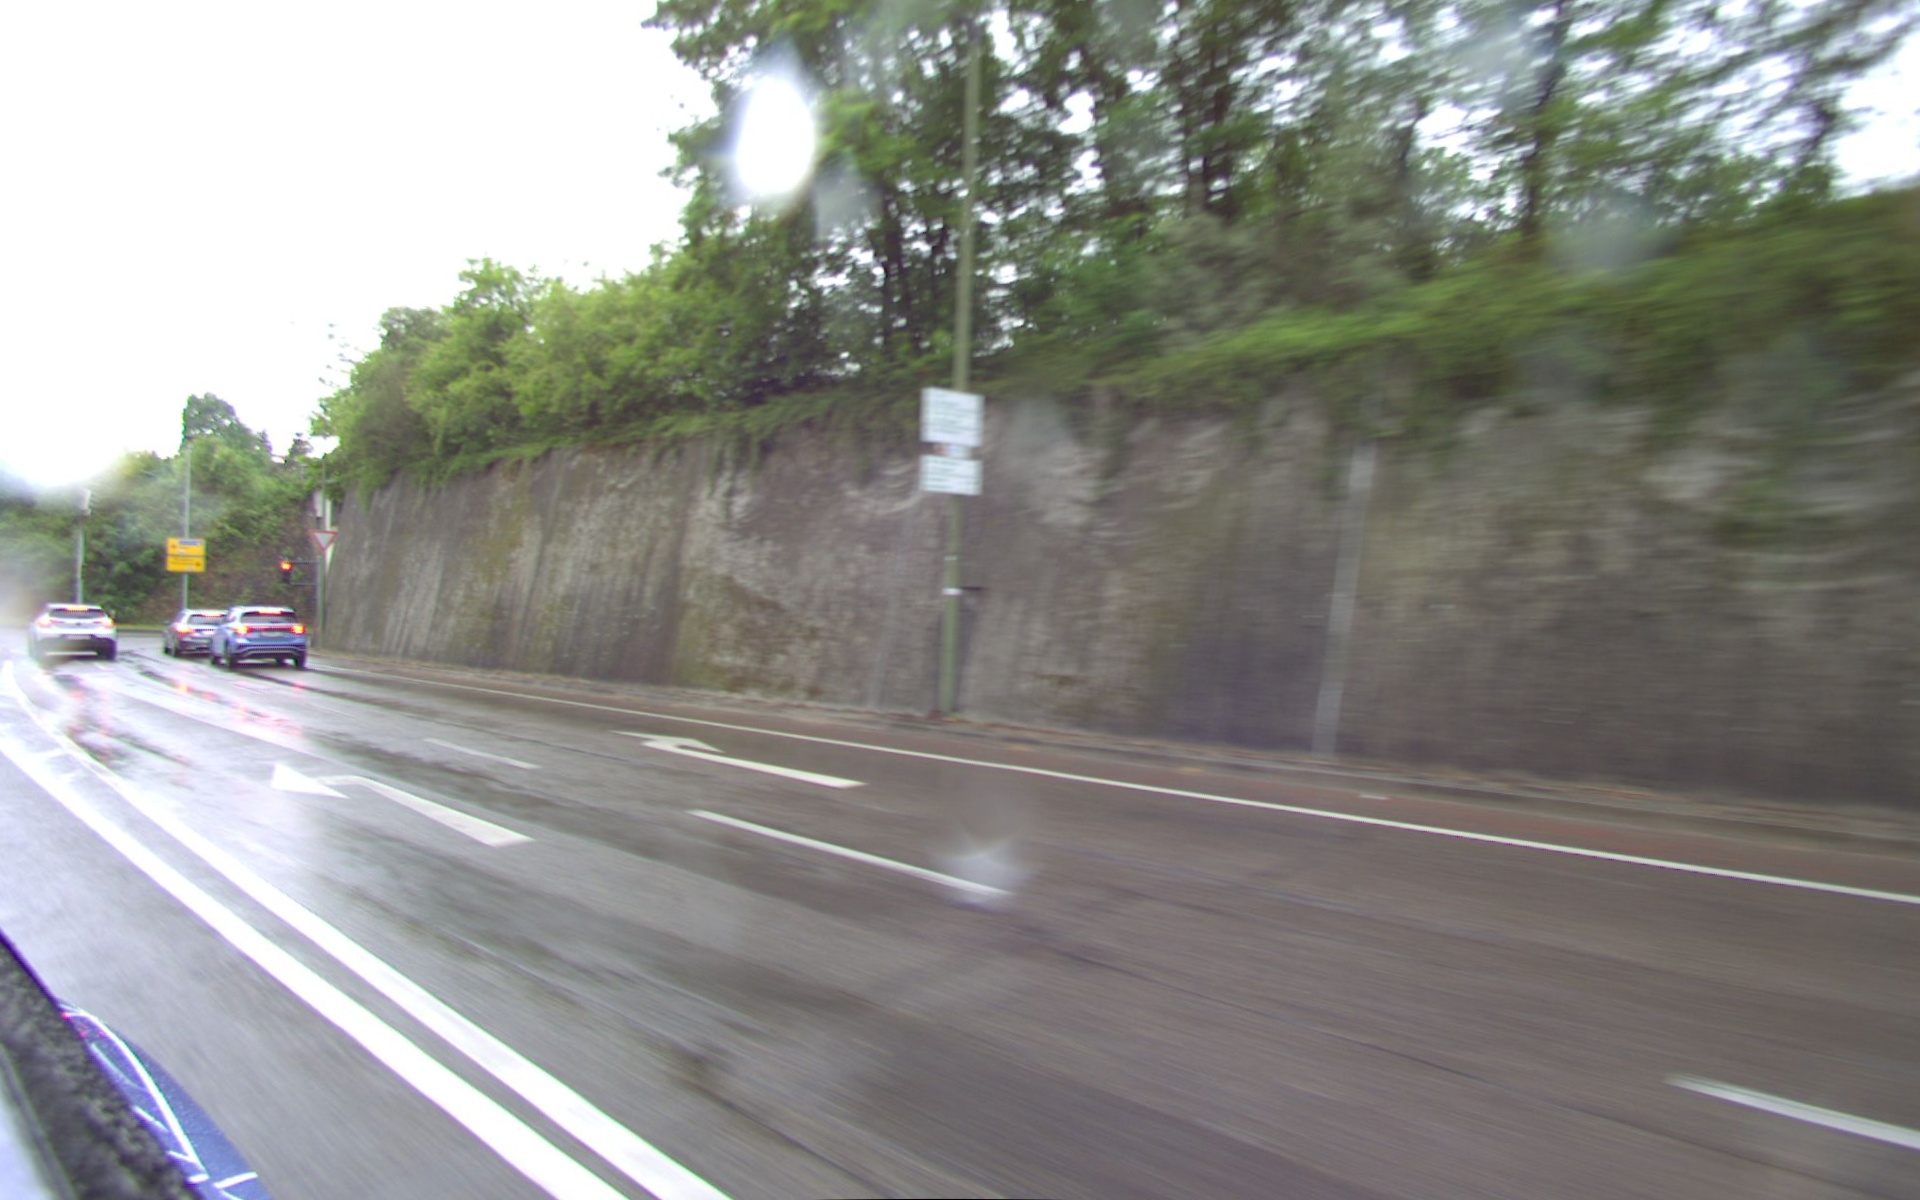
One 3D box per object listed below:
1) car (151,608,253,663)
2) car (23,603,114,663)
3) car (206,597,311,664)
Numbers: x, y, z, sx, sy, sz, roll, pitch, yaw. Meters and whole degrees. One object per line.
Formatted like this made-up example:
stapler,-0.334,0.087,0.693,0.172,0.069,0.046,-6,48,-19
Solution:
car,-24.341,1.112,32.423,1.970,1.514,4.733,6,-4,-43
car,-25.906,0.919,29.373,1.846,1.613,4.004,2,-2,-43
car,-19.001,0.799,27.347,1.793,1.670,4.055,2,-2,-42
